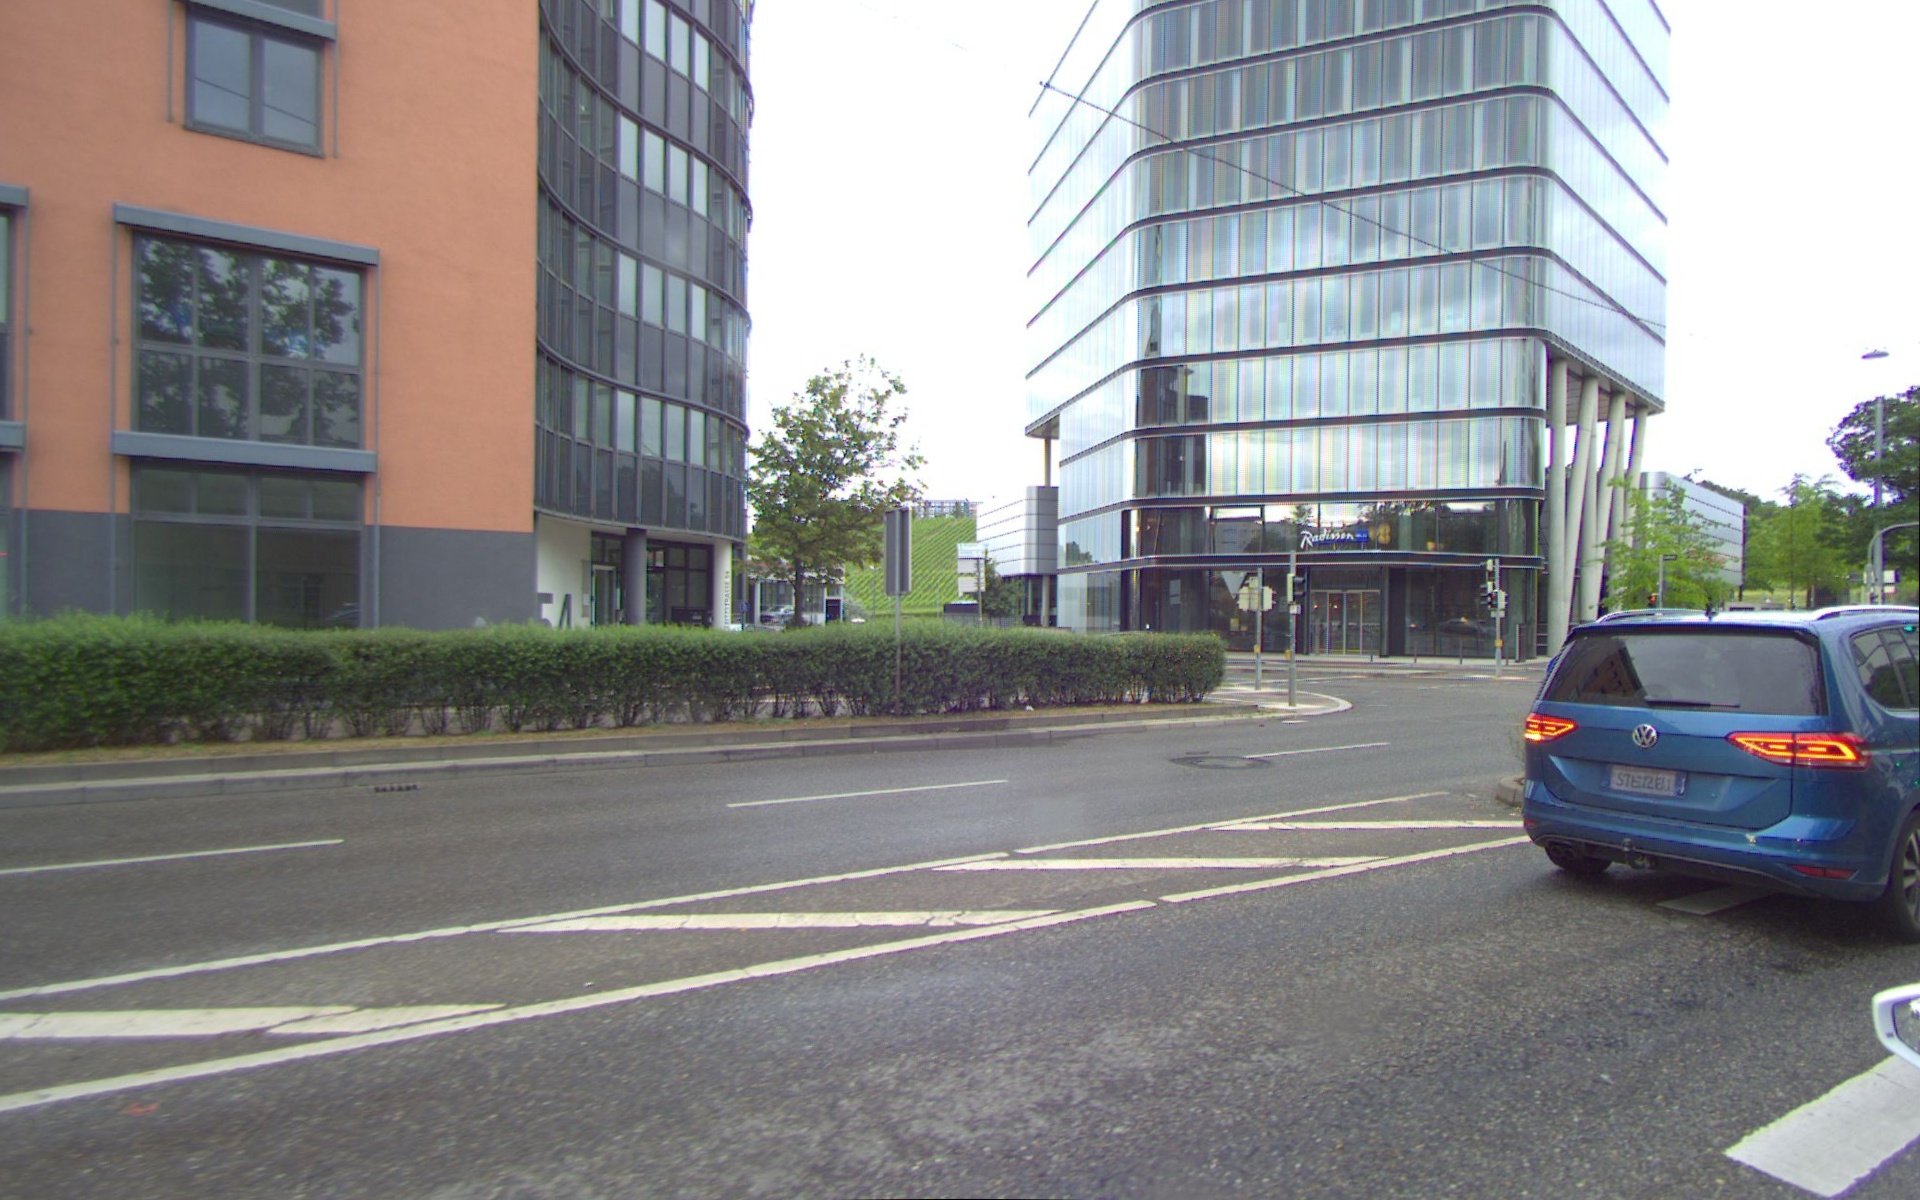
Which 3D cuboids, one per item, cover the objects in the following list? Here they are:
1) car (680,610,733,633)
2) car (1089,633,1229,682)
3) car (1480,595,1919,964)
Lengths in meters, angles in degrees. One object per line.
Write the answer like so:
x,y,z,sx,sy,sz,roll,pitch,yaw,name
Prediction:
-18.388,1.572,73.091,1.783,1.672,3.814,0,-2,23,car
6.717,1.903,34.082,4.307,1.530,1.848,-2,-2,40,car
5.314,0.843,6.203,4.146,1.617,1.765,1,-2,-29,car
